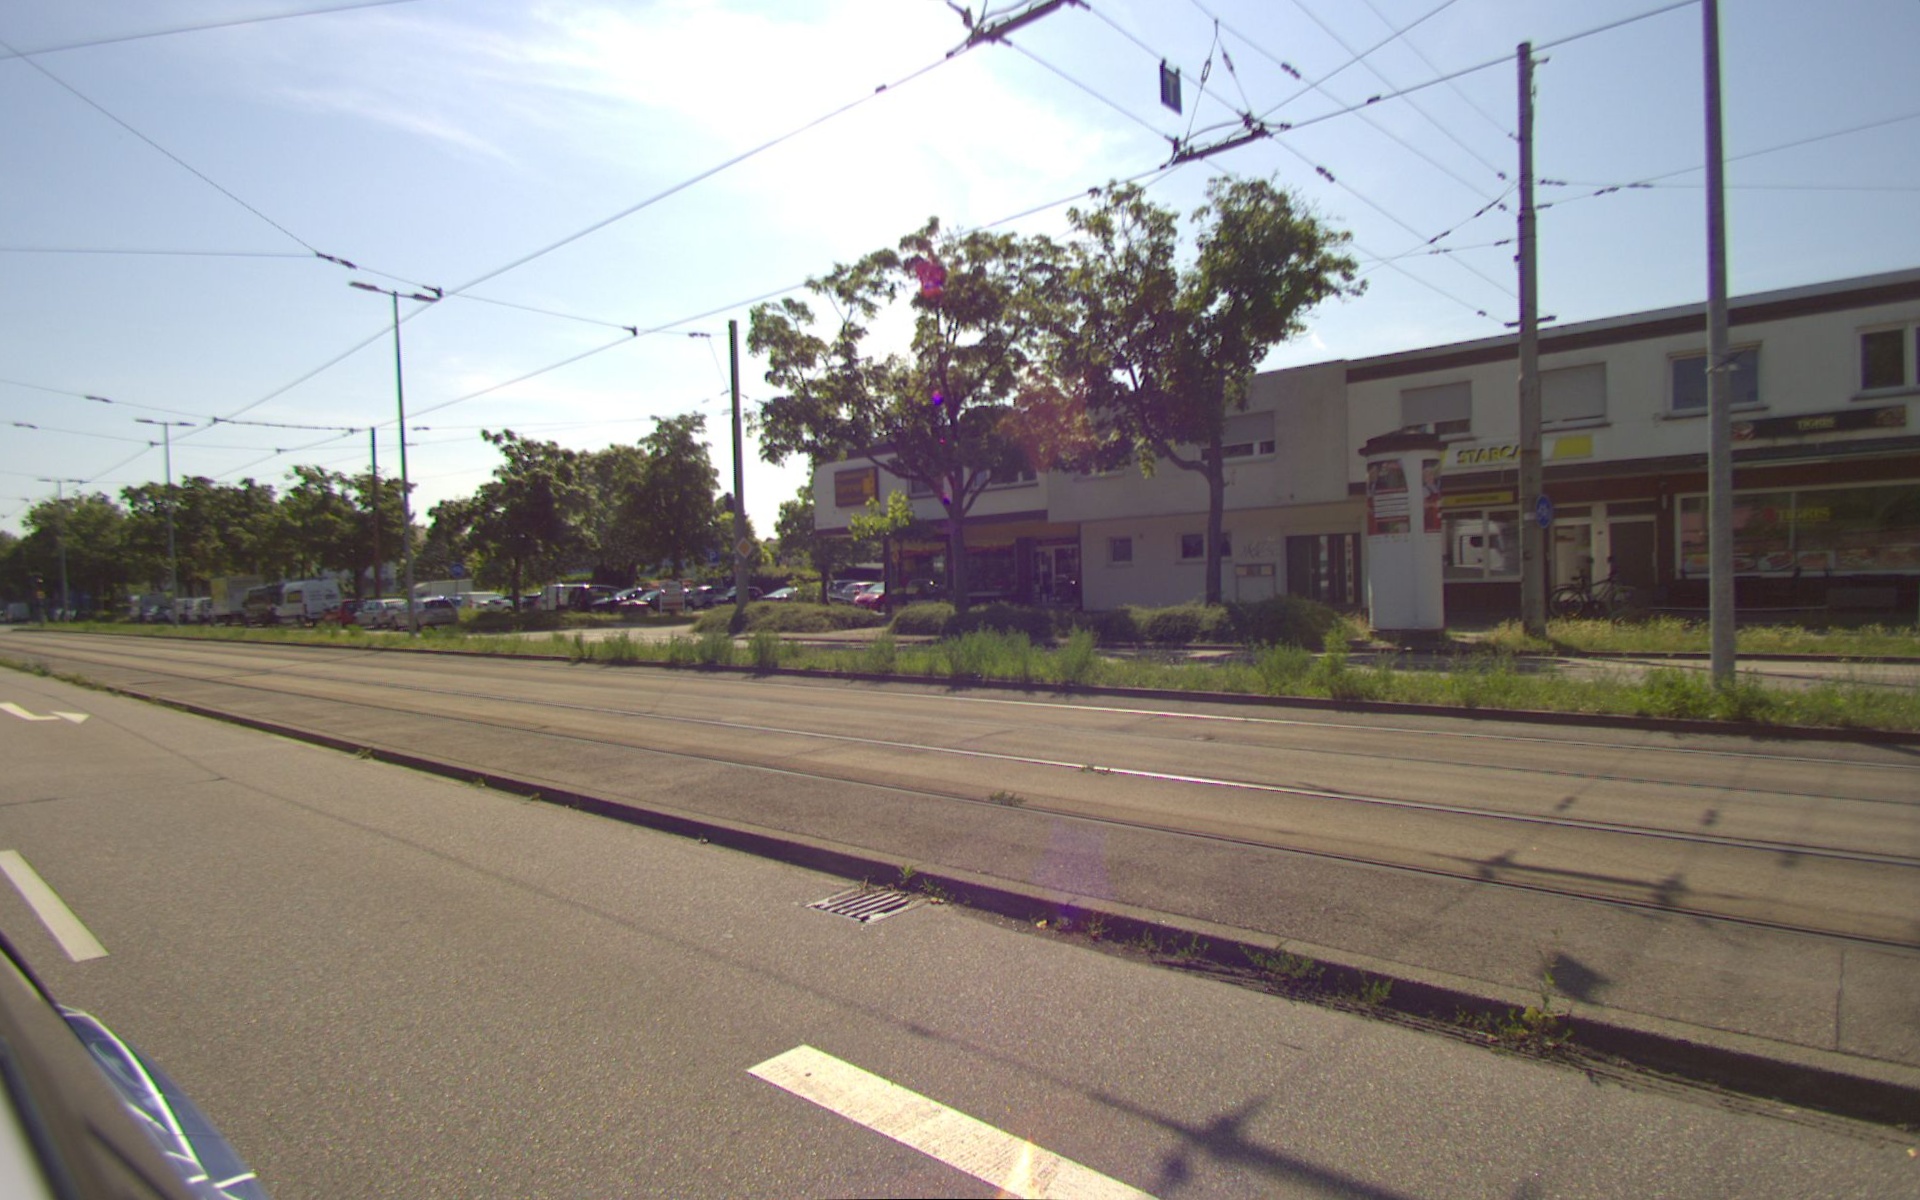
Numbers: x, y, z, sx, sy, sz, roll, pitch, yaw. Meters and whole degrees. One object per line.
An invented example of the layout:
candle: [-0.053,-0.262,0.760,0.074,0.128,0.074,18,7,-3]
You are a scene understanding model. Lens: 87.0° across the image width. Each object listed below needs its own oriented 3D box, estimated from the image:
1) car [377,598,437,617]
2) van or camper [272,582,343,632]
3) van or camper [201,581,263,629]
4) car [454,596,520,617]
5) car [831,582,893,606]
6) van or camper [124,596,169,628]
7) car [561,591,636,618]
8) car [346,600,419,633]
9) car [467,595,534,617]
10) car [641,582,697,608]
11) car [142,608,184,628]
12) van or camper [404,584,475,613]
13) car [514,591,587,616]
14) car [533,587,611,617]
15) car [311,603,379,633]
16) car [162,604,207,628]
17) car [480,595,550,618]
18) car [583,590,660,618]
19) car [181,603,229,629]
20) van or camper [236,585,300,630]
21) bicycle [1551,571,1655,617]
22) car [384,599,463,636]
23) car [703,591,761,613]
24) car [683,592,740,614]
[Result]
car: [-42.126,0.560,77.111,1.710,1.291,3.580,-1,1,39]
van or camper: [-37.116,0.400,57.538,4.836,2.652,2.014,-1,1,41]
van or camper: [-48.440,0.363,67.289,5.278,3.007,2.101,-1,1,41]
car: [-31.562,0.431,67.637,1.710,1.291,3.580,-1,1,39]
car: [-5.903,-0.379,61.388,1.710,1.372,3.580,-1,1,39]
van or camper: [-69.512,1.026,86.463,5.450,2.639,2.087,-1,0,41]
car: [-20.185,0.253,56.587,1.710,1.372,3.580,-1,1,39]
car: [-29.129,0.836,51.008,4.282,1.572,1.869,-1,1,41]
car: [-29.944,0.412,65.945,1.710,1.291,3.580,-1,1,39]
car: [-21.354,-0.396,74.411,1.710,1.791,3.580,-1,1,39]
car: [-64.393,1.455,81.746,4.229,1.572,1.869,-1,1,41]
van or camper: [-53.083,-0.136,103.281,2.299,2.751,6.002,-1,1,43]
car: [-24.027,0.204,59.466,1.710,1.294,3.580,-1,1,39]
car: [-22.216,0.097,58.011,1.949,1.581,3.703,-1,1,39]
car: [-33.166,0.953,54.510,4.229,1.506,1.869,-1,1,41]
car: [-59.749,1.237,77.954,4.229,1.781,1.869,-1,1,41]
car: [-28.052,0.388,63.809,1.811,1.291,3.580,-1,1,39]
car: [-18.234,0.229,54.648,1.710,1.372,3.580,-1,1,39]
car: [-54.662,1.146,73.234,4.229,1.747,1.869,-1,1,41]
van or camper: [-42.501,0.467,62.090,4.836,2.652,2.014,-1,1,41]
bicycle: [14.634,-0.139,23.059,1.910,0.990,0.750,-1,1,41]
car: [-25.182,0.826,47.418,4.285,1.506,1.868,-1,4,43]
car: [-15.643,0.139,69.403,1.710,1.372,3.580,-1,1,39]
car: [-17.481,0.202,71.240,1.710,1.372,3.580,-1,1,39]
